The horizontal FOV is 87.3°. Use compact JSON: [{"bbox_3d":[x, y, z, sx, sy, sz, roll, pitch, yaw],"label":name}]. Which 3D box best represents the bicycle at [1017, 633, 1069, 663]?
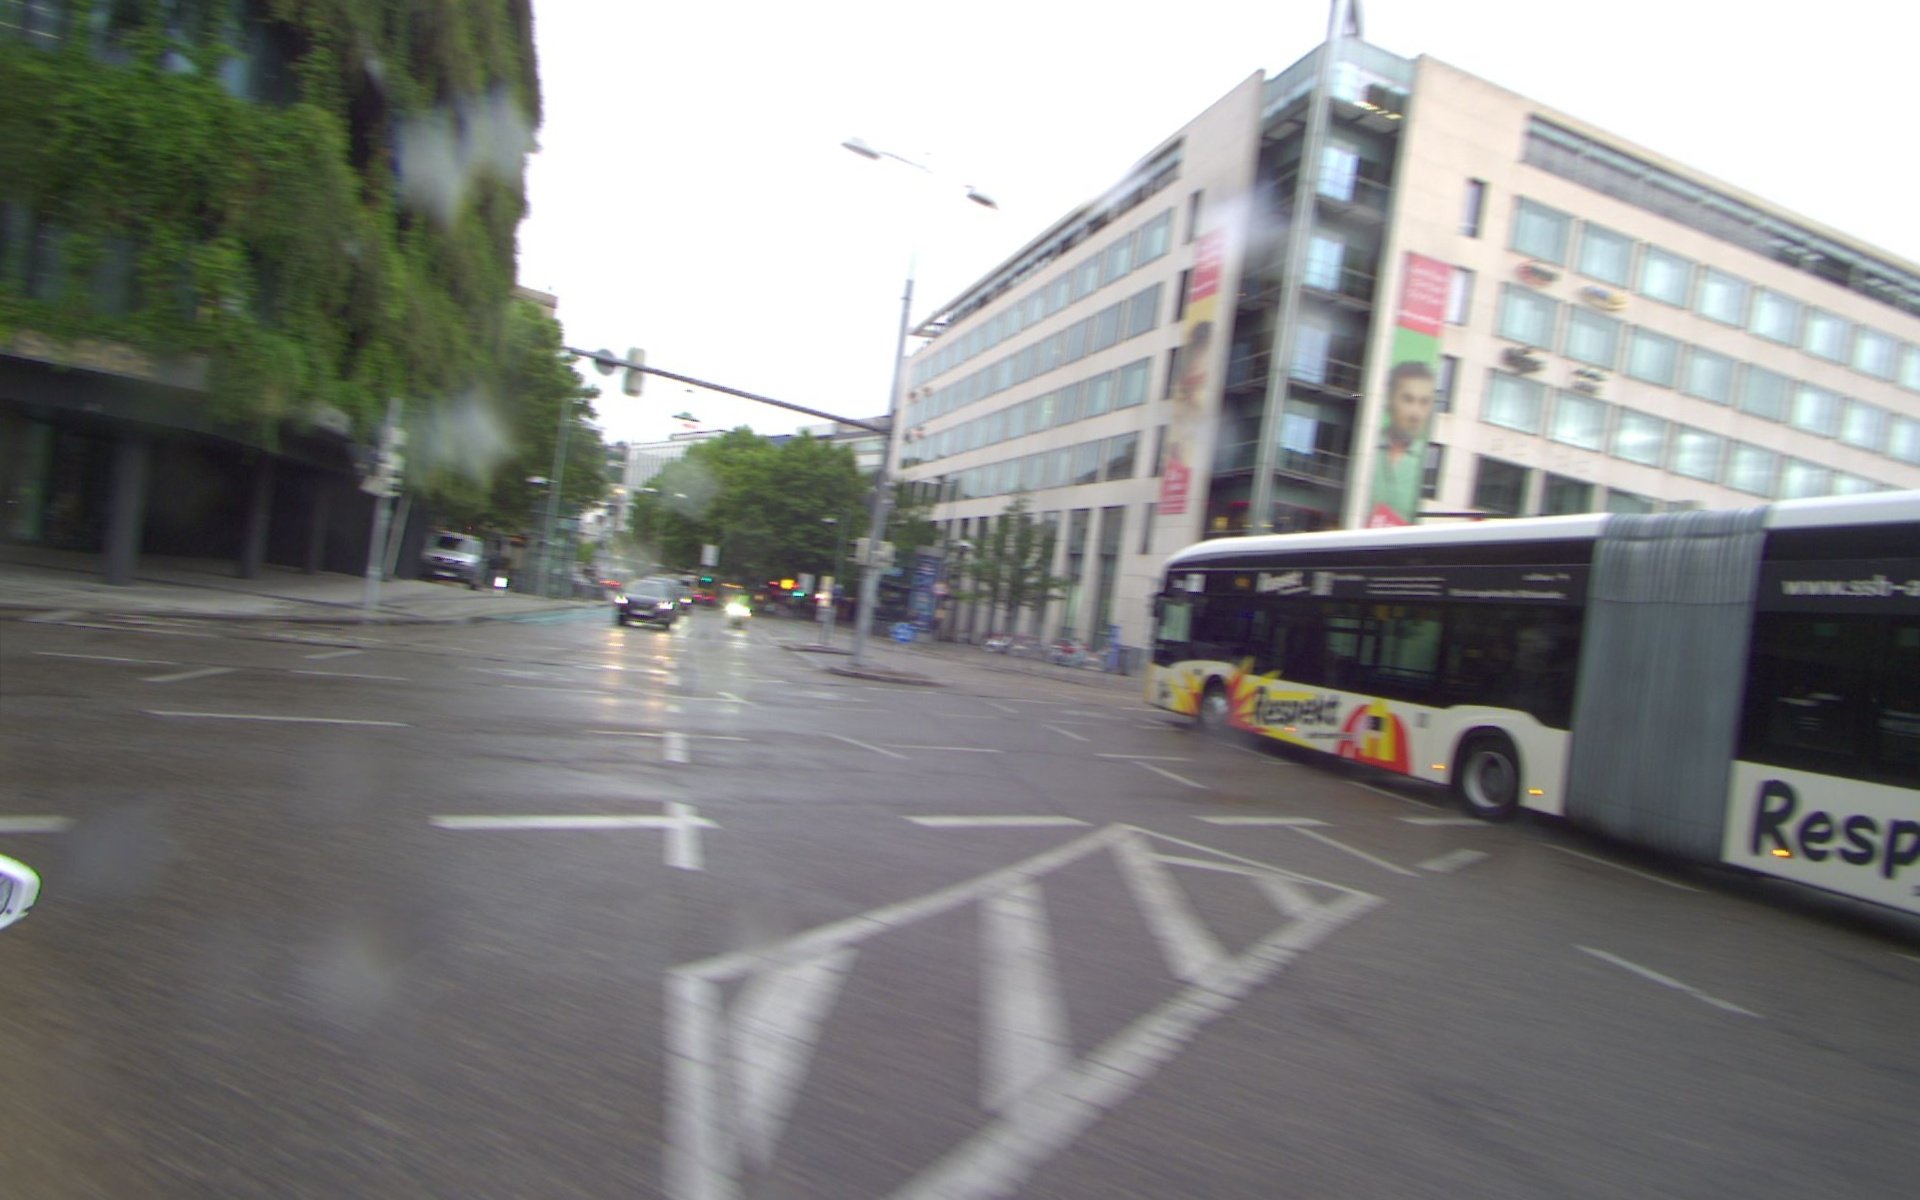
[{"bbox_3d":[3.898,2.268,47.169,2.313,1.111,0.488,8,0,-17],"label":"bicycle"}]

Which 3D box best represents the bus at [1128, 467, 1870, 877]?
[{"bbox_3d":[6.089,0.654,14.513,2.646,3.631,10.287,8,-1,-16],"label":"bus"}]

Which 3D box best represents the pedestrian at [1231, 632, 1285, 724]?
[{"bbox_3d":[6.784,1.774,22.903,0.813,1.960,0.708,7,0,29],"label":"pedestrian"}]

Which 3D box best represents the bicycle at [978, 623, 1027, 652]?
[{"bbox_3d":[2.123,1.874,50.007,2.313,1.111,0.488,8,0,-17],"label":"bicycle"}]

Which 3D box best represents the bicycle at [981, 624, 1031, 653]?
[{"bbox_3d":[2.264,1.887,49.513,2.313,1.111,0.488,8,0,-17],"label":"bicycle"}]

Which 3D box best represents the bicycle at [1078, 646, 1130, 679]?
[{"bbox_3d":[5.982,2.583,41.719,1.969,1.111,0.489,8,0,-4],"label":"bicycle"}]

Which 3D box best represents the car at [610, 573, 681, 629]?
[{"bbox_3d":[-10.345,0.041,33.374,1.799,1.516,4.193,7,-2,-14],"label":"car"}]

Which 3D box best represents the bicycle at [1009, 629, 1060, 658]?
[{"bbox_3d":[3.603,2.115,48.748,2.313,1.111,0.488,8,0,-17],"label":"bicycle"}]

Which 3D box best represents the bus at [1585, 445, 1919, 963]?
[{"bbox_3d":[8.418,0.896,5.948,2.645,3.631,8.064,8,-1,-15],"label":"bus"}]

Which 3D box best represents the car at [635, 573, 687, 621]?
[{"bbox_3d":[-13.369,-0.121,45.148,1.799,1.779,4.765,7,-2,-14],"label":"car"}]

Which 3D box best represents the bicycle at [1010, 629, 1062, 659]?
[{"bbox_3d":[3.634,2.102,48.095,2.313,1.111,0.488,8,0,-17],"label":"bicycle"}]

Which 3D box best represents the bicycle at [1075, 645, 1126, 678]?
[{"bbox_3d":[5.909,2.581,42.269,1.966,1.111,0.489,8,0,-4],"label":"bicycle"}]

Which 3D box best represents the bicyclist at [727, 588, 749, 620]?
[{"bbox_3d":[-9.944,0.174,45.099,0.783,1.352,0.741,7,0,-13],"label":"bicyclist"}]

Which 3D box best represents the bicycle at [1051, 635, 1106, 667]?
[{"bbox_3d":[5.267,2.257,44.647,2.313,1.111,0.488,8,0,-17],"label":"bicycle"}]

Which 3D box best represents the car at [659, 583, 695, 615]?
[{"bbox_3d":[-17.378,-0.047,61.926,1.799,1.655,4.487,7,-2,-14],"label":"car"}]

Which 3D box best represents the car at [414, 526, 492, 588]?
[{"bbox_3d":[-19.482,-1.634,38.887,2.092,1.979,4.845,8,-1,-22],"label":"car"}]

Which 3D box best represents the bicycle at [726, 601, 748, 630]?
[{"bbox_3d":[-10.010,0.685,45.137,0.795,1.149,2.087,7,-1,-12],"label":"bicycle"}]

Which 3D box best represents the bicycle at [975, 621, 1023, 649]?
[{"bbox_3d":[1.991,1.767,50.996,2.313,1.111,0.488,8,0,-17],"label":"bicycle"}]
